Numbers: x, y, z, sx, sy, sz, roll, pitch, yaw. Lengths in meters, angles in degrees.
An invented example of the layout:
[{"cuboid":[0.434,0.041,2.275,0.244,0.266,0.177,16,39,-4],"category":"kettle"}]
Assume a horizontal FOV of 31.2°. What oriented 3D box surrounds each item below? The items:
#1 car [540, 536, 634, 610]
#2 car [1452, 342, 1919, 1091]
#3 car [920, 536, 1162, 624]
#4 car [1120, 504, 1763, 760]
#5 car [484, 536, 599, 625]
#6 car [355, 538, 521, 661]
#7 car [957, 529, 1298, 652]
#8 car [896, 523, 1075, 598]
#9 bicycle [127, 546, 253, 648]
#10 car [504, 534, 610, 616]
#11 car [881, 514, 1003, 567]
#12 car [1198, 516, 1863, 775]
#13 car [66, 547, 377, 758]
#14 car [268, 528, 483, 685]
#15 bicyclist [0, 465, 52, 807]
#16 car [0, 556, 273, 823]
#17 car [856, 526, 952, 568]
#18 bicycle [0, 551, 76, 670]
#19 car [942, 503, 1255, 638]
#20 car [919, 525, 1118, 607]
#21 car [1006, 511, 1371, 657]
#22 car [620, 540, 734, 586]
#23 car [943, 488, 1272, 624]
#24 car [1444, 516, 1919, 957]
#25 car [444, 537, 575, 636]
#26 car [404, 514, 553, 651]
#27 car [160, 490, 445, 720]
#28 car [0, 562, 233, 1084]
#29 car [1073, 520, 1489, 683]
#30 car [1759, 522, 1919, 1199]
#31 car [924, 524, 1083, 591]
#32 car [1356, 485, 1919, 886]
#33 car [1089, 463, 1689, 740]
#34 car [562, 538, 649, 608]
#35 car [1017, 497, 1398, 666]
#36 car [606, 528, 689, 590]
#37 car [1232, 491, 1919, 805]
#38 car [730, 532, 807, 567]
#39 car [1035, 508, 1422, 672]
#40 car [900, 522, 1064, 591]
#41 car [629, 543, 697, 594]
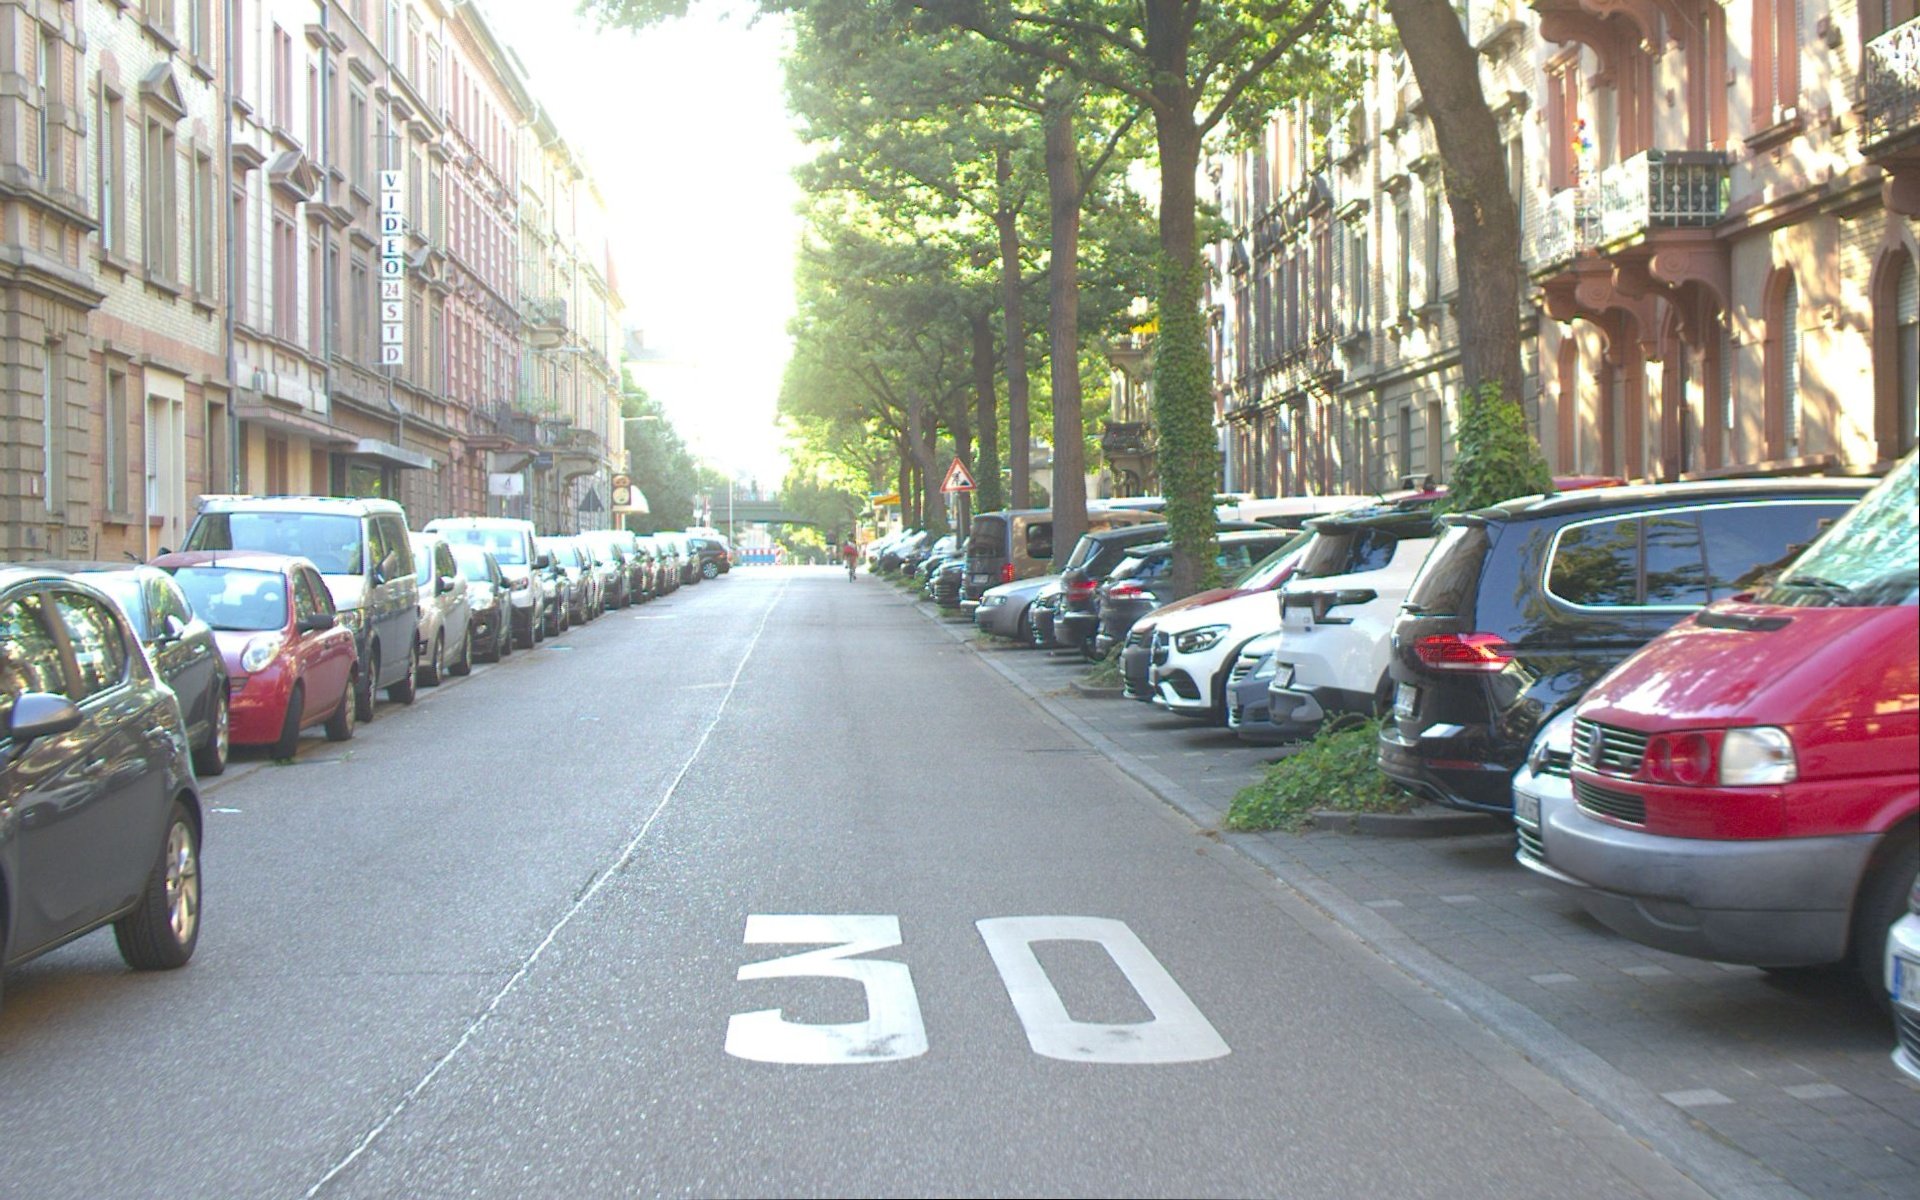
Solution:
[{"cuboid":[-7.738,-0.587,71.548,1.758,1.468,4.060,-1,1,-4],"category":"car"},{"cuboid":[4.072,0.227,10.587,4.674,2.026,1.879,-3,1,-5],"category":"car"},{"cuboid":[1.337,-0.345,57.914,3.849,1.289,1.718,-3,1,-5],"category":"car"},{"cuboid":[3.468,0.198,25.286,4.343,1.551,1.850,-3,2,-3],"category":"car"},{"cuboid":[-7.316,-0.362,60.435,1.758,1.468,4.060,-1,1,-4],"category":"car"},{"cuboid":[-6.683,-0.041,44.360,1.758,1.462,4.001,1,1,-4],"category":"car"},{"cuboid":[2.191,-0.144,45.702,4.220,1.398,1.835,-3,1,-7],"category":"car"},{"cuboid":[0.577,-0.931,80.188,3.849,1.568,1.718,-3,1,-10],"category":"car"},{"cuboid":[-10.484,-0.067,46.988,1.041,1.314,4.001,0,1,-3],"category":"bicycle"},{"cuboid":[-7.621,-0.494,65.295,1.758,1.468,4.060,-1,1,-4],"category":"car"},{"cuboid":[-0.595,-1.945,112.288,3.850,1.568,1.718,-3,1,-3],"category":"car"},{"cuboid":[3.727,0.281,22.922,4.010,1.429,1.795,-3,1,-3],"category":"car"},{"cuboid":[-5.585,0.348,26.401,1.592,1.470,3.699,1,1,0],"category":"car"},{"cuboid":[-6.377,0.025,37.905,1.753,1.603,4.384,1,1,-2],"category":"car"},{"cuboid":[-5.598,0.197,18.173,1.204,1.783,0.999,-3,2,-36],"category":"bicyclist"},{"cuboid":[-5.672,0.501,21.855,1.758,1.496,4.060,-1,1,0],"category":"car"},{"cuboid":[-2.314,-2.195,142.559,3.850,1.568,1.718,-3,1,-3],"category":"car"},{"cuboid":[-10.417,0.091,37.962,0.740,1.251,2.827,0,1,-3],"category":"bicycle"},{"cuboid":[2.067,-0.454,51.336,4.220,1.788,1.835,-3,1,-22],"category":"car"},{"cuboid":[1.179,-0.699,70.246,3.849,1.474,1.718,-3,1,-5],"category":"car"},{"cuboid":[2.848,-0.225,43.346,4.220,1.605,1.836,-3,1,-9],"category":"car"},{"cuboid":[-9.811,-1.270,119.254,1.997,1.481,3.993,-1,-1,30],"category":"car"},{"cuboid":[2.318,-0.714,55.080,5.056,1.919,1.835,-3,1,-2],"category":"car"},{"cuboid":[4.360,0.406,13.177,4.675,1.509,1.879,-2,1,0],"category":"car"},{"cuboid":[-7.082,-0.239,54.338,1.758,1.468,4.060,-1,1,-4],"category":"car"},{"cuboid":[-6.854,-0.286,49.289,1.758,1.835,4.530,-1,1,-4],"category":"car"},{"cuboid":[-6.024,-0.003,32.079,1.832,1.936,5.261,1,1,-2],"category":"car"},{"cuboid":[-3.675,0.664,10.959,1.758,1.496,4.060,-1,1,1],"category":"car"},{"cuboid":[3.259,0.003,35.418,4.010,1.462,1.734,-3,1,-2],"category":"car"},{"cuboid":[4.110,0.492,7.816,4.053,1.505,1.879,-3,1,-2],"category":"car"},{"cuboid":[1.122,-1.124,89.954,3.849,1.568,1.718,-3,1,-10],"category":"car"},{"cuboid":[4.019,0.313,15.621,4.186,1.622,1.837,-2,1,1],"category":"car"},{"cuboid":[3.411,-0.027,27.846,4.443,1.917,1.850,-3,2,-5],"category":"car"},{"cuboid":[-7.848,-0.610,76.317,1.758,1.468,4.060,-1,1,-4],"category":"car"},{"cuboid":[2.884,-0.235,40.640,4.220,1.770,1.835,-3,1,-3],"category":"car"},{"cuboid":[-8.047,-1.046,88.828,1.993,1.481,4.000,-1,-1,-3],"category":"car"},{"cuboid":[3.772,0.256,20.468,4.010,1.622,1.805,-3,1,-4],"category":"car"},{"cuboid":[-10.473,-2.777,188.154,3.988,1.853,1.751,0,1,6],"category":"car"},{"cuboid":[2.914,-0.119,37.912,4.010,1.601,1.734,-3,1,-2],"category":"car"},{"cuboid":[0.542,-1.105,87.526,3.849,1.568,1.718,-3,1,-10],"category":"car"},{"cuboid":[-9.387,-0.985,108.933,1.993,1.481,4.000,-1,-1,-3],"category":"car"}]
